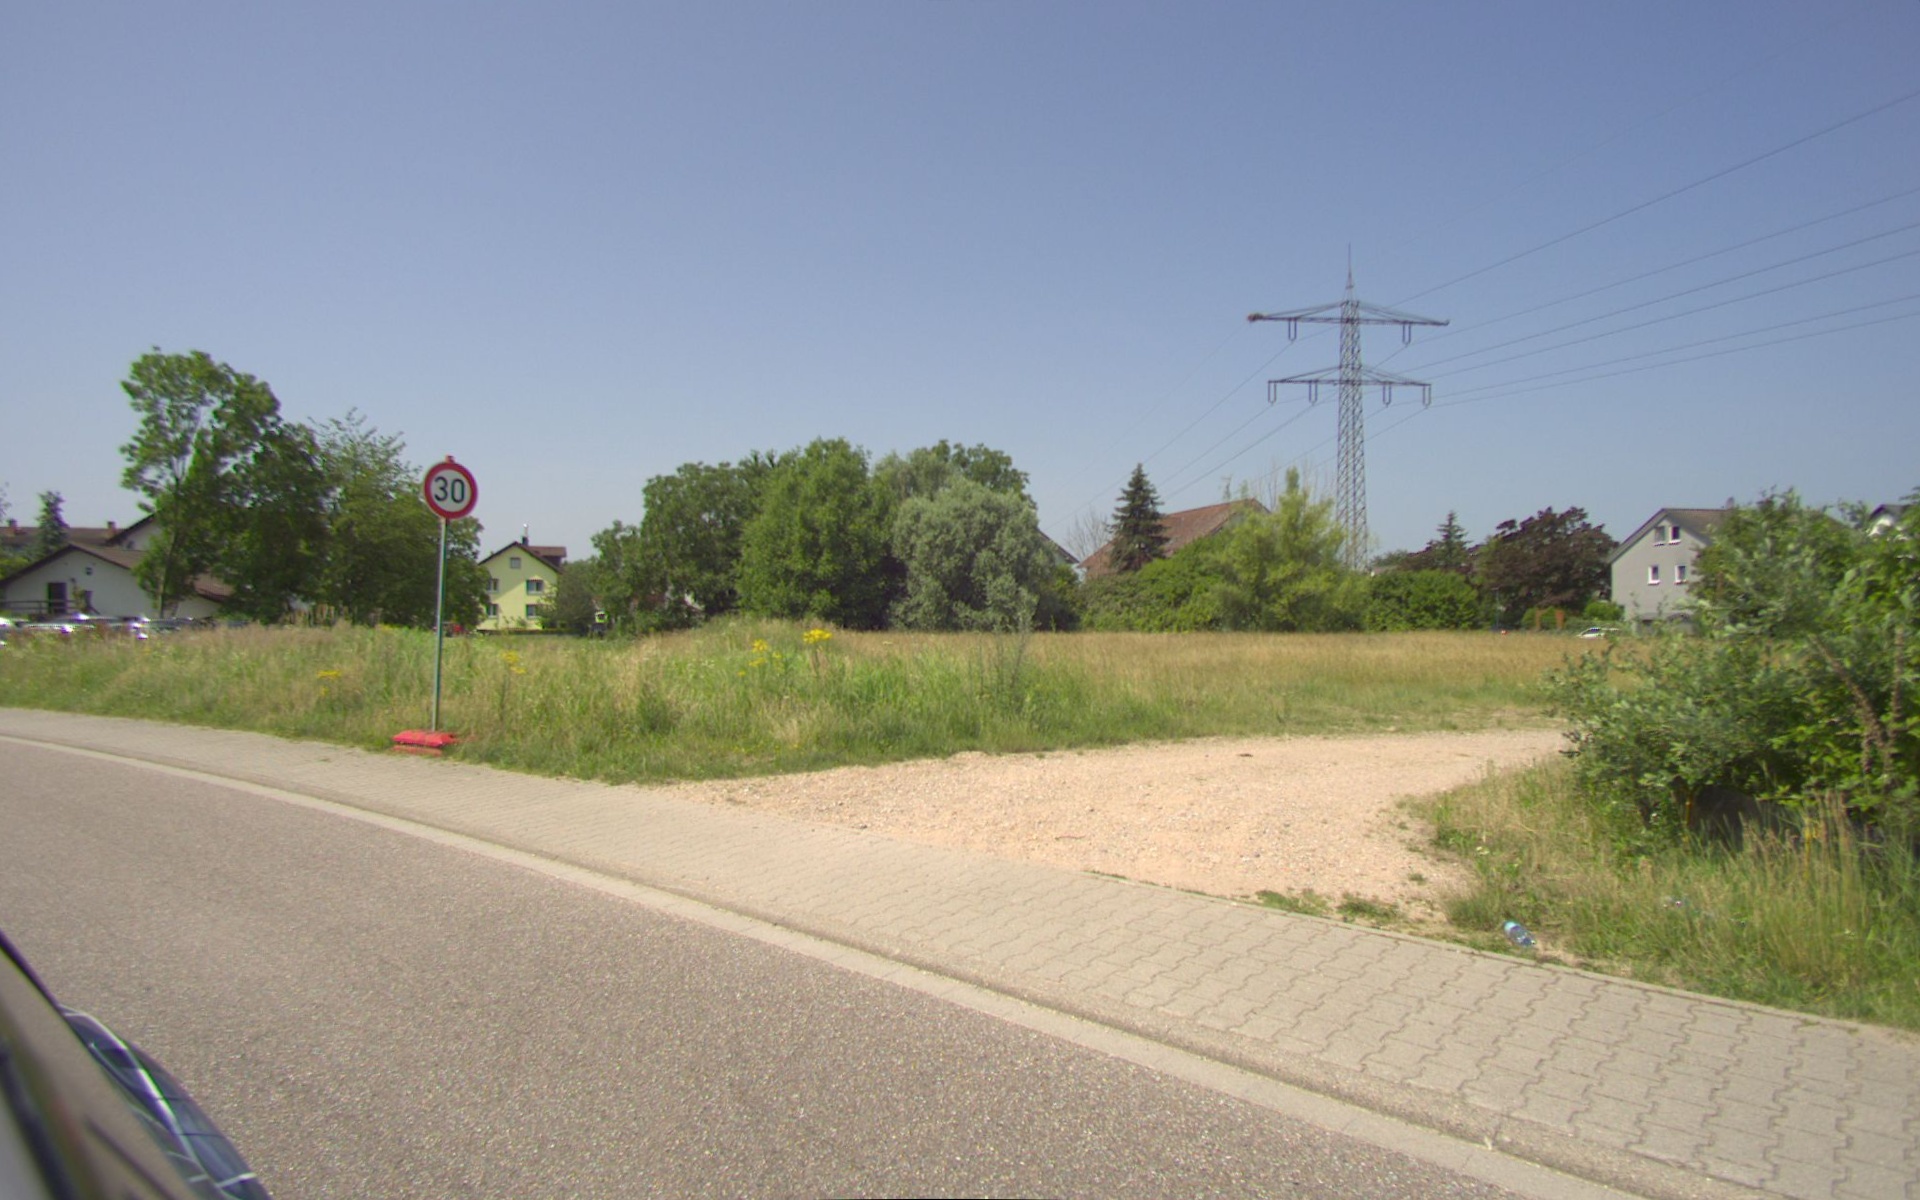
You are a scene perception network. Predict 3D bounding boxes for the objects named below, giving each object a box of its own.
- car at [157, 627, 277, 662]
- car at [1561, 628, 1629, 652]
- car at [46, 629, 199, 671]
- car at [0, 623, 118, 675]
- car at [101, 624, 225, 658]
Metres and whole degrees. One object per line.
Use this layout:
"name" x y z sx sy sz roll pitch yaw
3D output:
"car" -33.662 1.984 45.967 3.935 1.510 2.004 0 -2 -9
"car" 44.686 2.789 71.273 1.969 1.623 4.005 0 -1 -6
"car" -31.254 1.851 37.896 3.935 1.510 2.004 0 -2 -9
"car" -29.766 1.571 32.867 3.406 1.596 1.585 0 -1 -9
"car" -33.444 1.704 42.581 3.686 1.326 1.824 0 -1 -9
